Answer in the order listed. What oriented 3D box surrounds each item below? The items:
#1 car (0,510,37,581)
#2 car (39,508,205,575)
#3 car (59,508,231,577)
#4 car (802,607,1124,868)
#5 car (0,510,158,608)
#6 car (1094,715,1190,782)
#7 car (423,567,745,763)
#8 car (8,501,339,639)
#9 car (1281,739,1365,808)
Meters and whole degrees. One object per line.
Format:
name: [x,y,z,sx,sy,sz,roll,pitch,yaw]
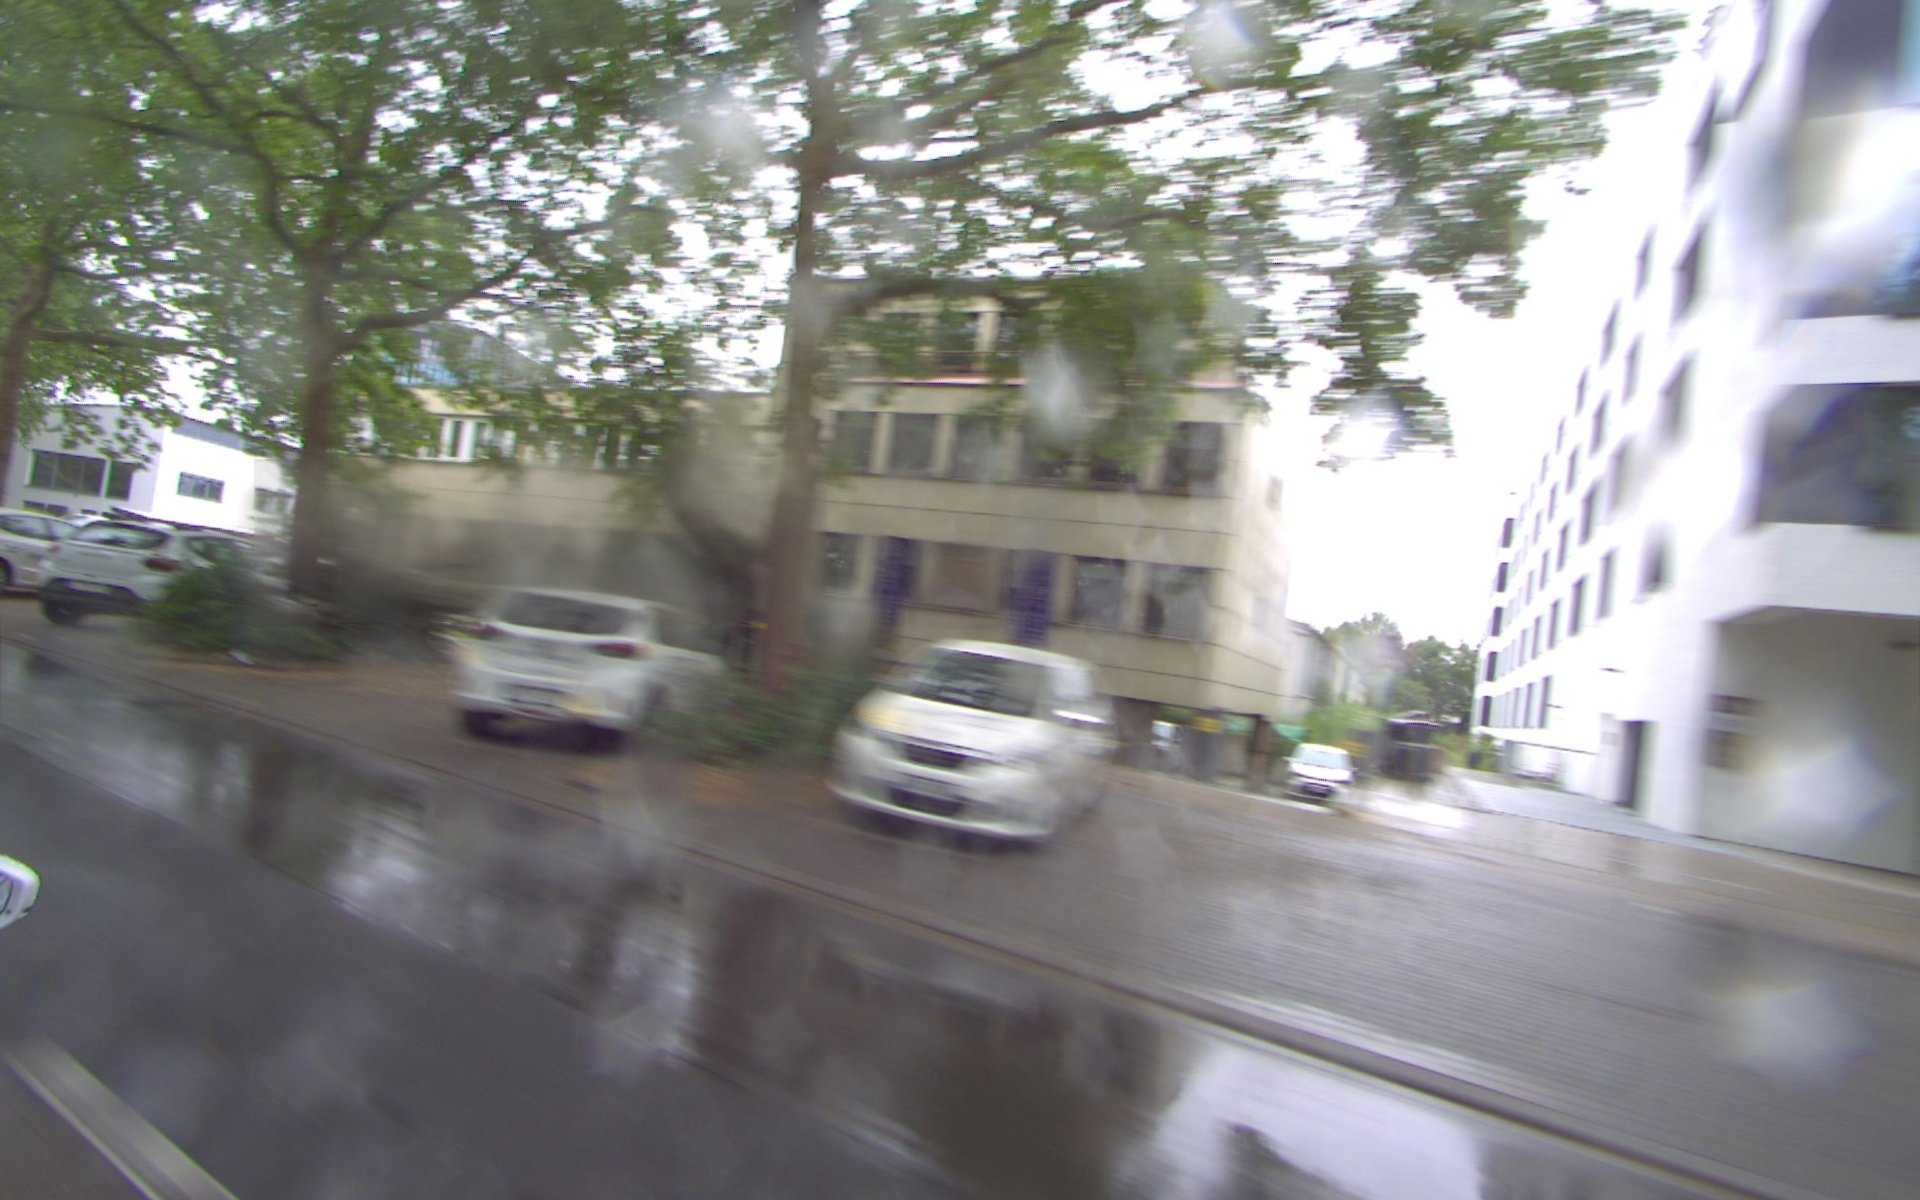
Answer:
car: [-20.906,-1.329,19.890,1.743,1.432,3.696,8,-3,-1]
car: [-32.562,-2.235,39.254,1.748,1.776,4.556,7,-3,22]
car: [-30.276,-2.084,37.554,1.718,1.776,4.554,7,-3,25]
car: [0.271,1.055,8.733,1.716,1.522,3.651,8,-2,16]
car: [-16.192,-0.774,17.201,1.716,1.432,3.697,8,-3,3]
car: [5.624,4.448,30.656,1.963,1.512,4.002,7,-2,22]
car: [-3.620,0.649,10.565,1.717,1.444,4.042,8,-3,0]
car: [-11.502,-0.307,15.151,1.717,1.556,4.041,8,-3,-2]
car: [10.245,4.869,28.215,1.718,1.531,4.314,5,-7,26]
